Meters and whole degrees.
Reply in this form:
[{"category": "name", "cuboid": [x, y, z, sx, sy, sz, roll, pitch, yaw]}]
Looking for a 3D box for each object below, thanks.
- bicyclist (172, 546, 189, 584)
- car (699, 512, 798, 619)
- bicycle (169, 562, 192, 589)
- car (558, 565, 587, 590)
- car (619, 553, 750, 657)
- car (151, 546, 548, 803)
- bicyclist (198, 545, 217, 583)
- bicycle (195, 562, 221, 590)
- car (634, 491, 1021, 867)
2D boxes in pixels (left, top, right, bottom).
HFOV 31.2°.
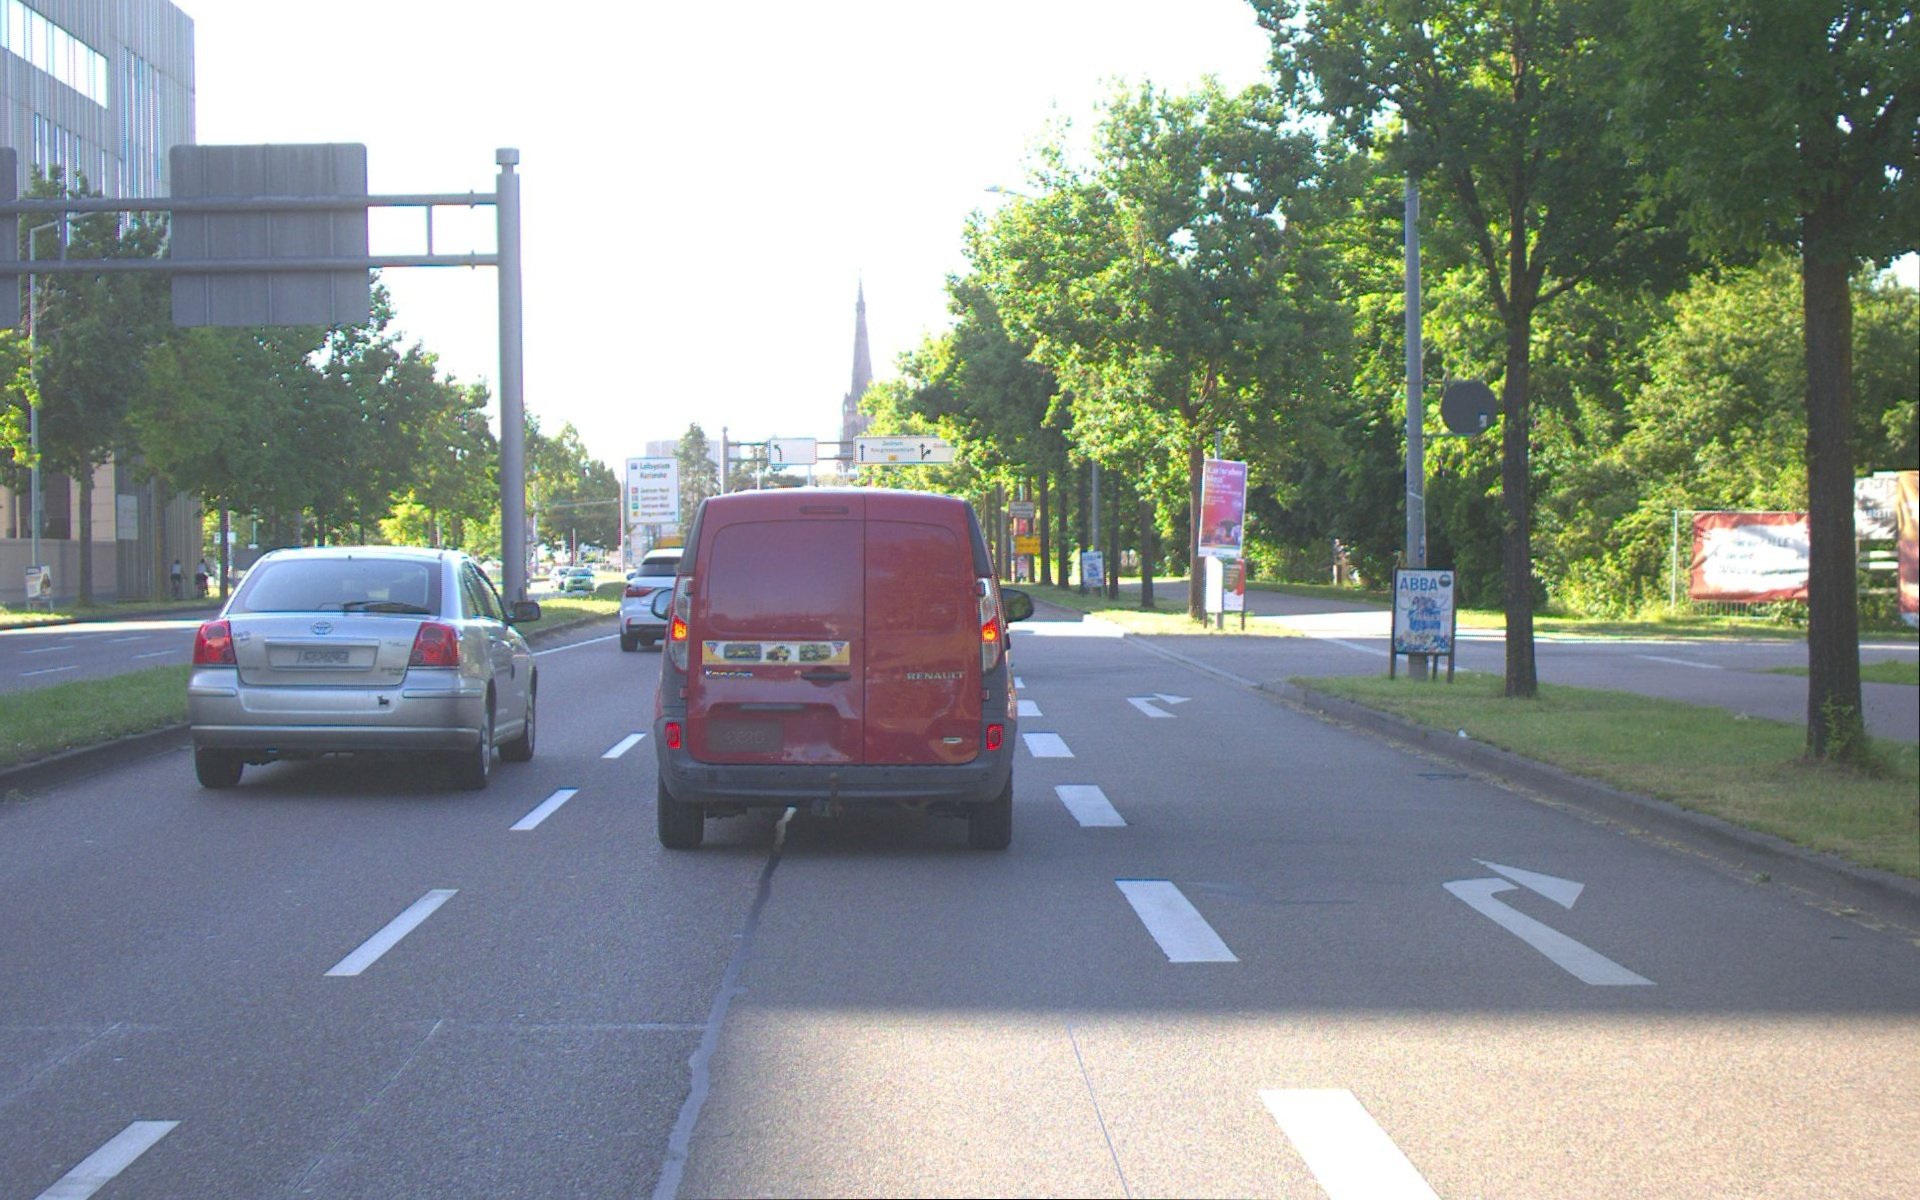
[{"category": "bicyclist", "cuboid": [-29.043, -1.294, 128.093, 0.482, 1.390, 0.844, -1, 0, -3]}, {"category": "car", "cuboid": [-3.789, -0.631, 62.064, 1.661, 1.850, 3.559, -1, 1, -2]}, {"category": "bicycle", "cuboid": [-29.035, -0.905, 128.077, 0.487, 1.000, 2.096, -1, 0, -3]}, {"category": "car", "cuboid": [-22.858, -1.320, 202.841, 1.446, 1.431, 3.460, -1, 1, -3]}, {"category": "car", "cuboid": [-3.846, 0.039, 48.447, 1.661, 1.393, 3.559, -1, 1, -2]}, {"category": "car", "cuboid": [-3.739, 0.398, 21.734, 1.841, 1.451, 4.162, 1, 1, -1]}, {"category": "bicyclist", "cuboid": [-27.875, -1.342, 127.345, 0.562, 1.387, 0.747, -1, 0, -3]}, {"category": "bicycle", "cuboid": [-27.868, -0.891, 127.429, 0.570, 1.000, 2.096, -1, 0, -3]}, {"category": "car", "cuboid": [-0.686, 0.346, 18.197, 1.806, 1.753, 4.006, 1, 1, -2]}]
